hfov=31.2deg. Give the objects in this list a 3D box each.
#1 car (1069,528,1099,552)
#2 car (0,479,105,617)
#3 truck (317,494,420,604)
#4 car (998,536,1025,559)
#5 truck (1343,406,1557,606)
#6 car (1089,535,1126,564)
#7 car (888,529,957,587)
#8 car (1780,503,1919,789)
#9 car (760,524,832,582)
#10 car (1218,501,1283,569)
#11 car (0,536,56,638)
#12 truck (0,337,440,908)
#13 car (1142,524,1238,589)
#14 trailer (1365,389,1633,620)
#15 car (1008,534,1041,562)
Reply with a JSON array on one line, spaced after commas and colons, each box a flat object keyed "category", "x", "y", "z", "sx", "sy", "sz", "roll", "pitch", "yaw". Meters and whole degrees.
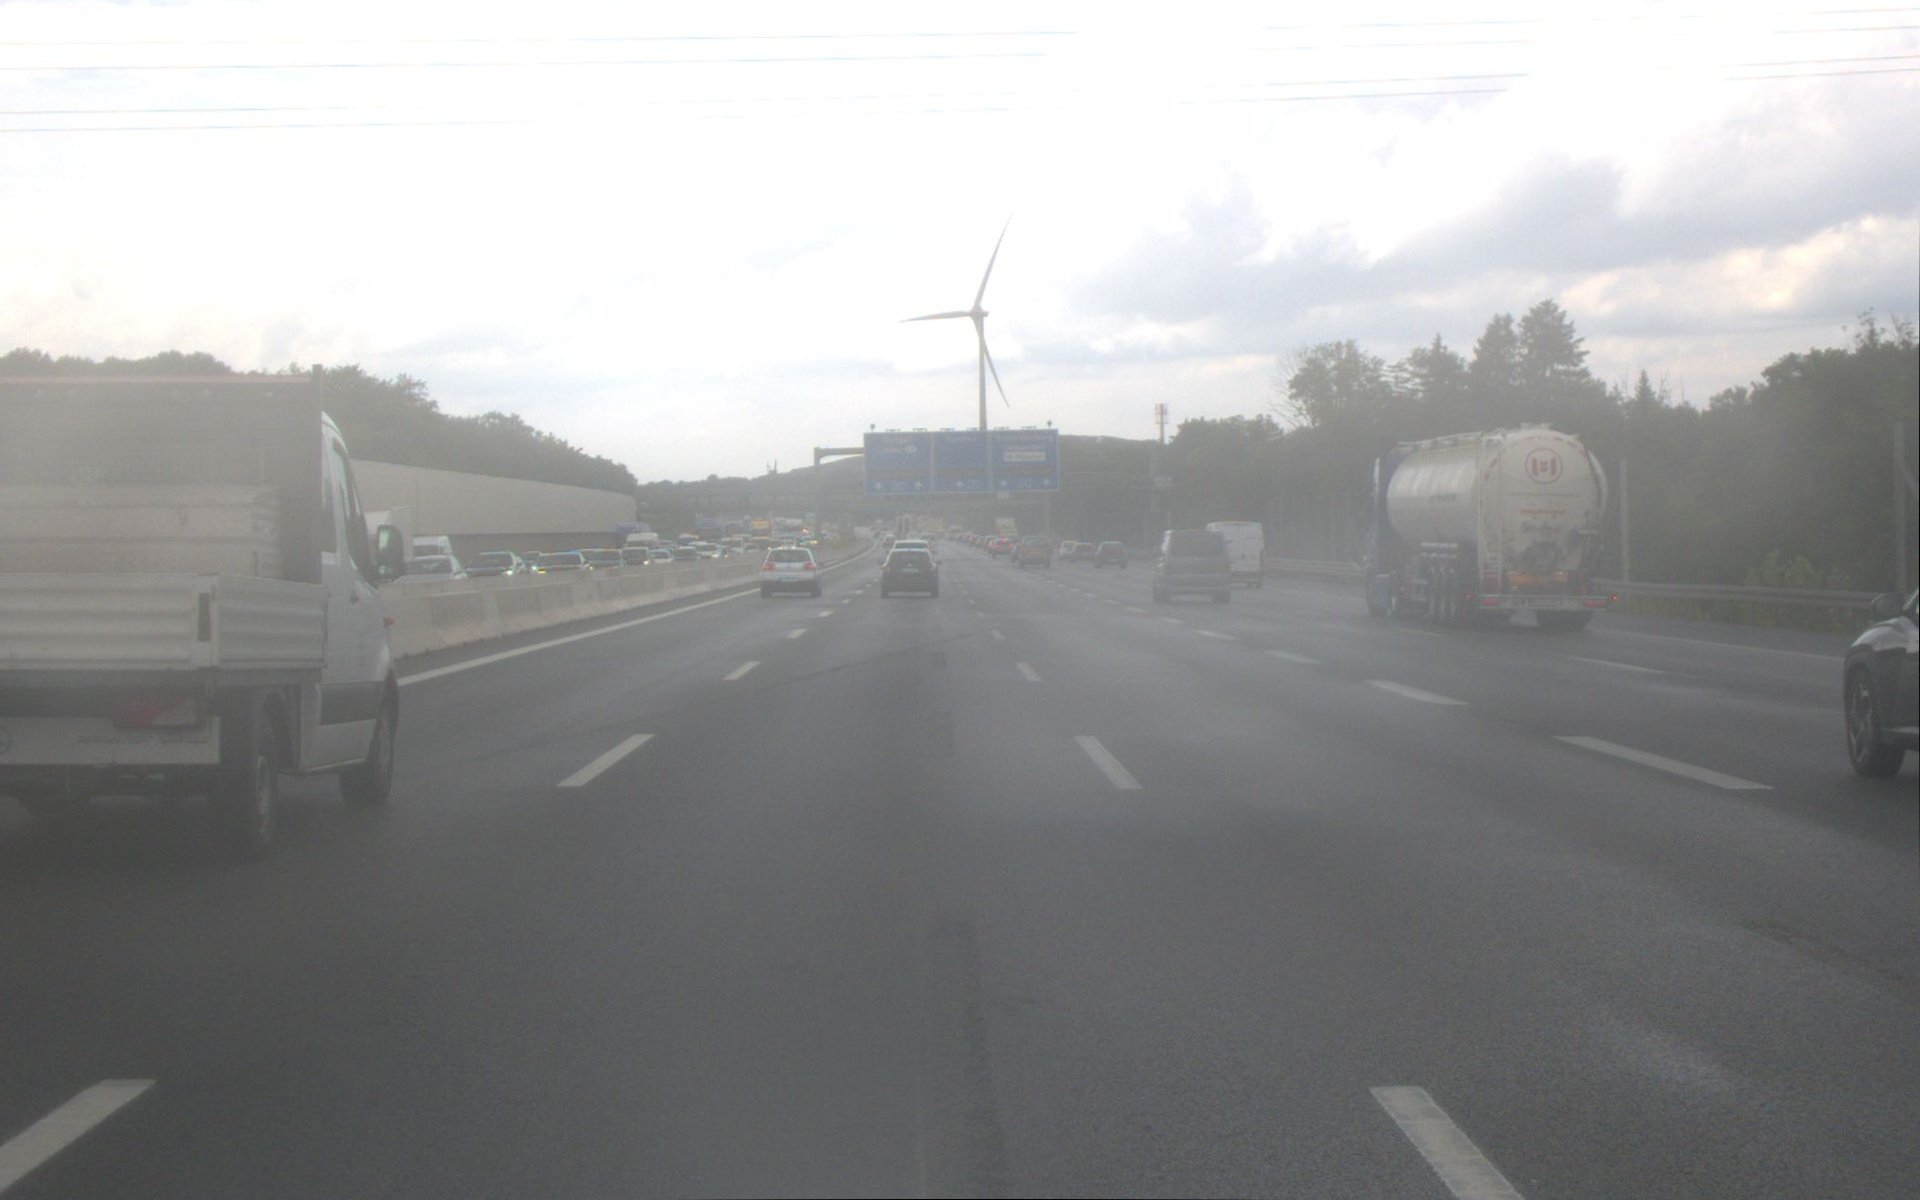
[{"category": "car", "x": 9.008, "y": -4.392, "z": 250.563, "sx": 2.045, "sy": 1.693, "sz": 4.000, "roll": 0, "pitch": 2, "yaw": 0}, {"category": "car", "x": -28.742, "y": -1.596, "z": 103.437, "sx": 3.202, "sy": 3.933, "sz": 11.658, "roll": 0, "pitch": 1, "yaw": -1}, {"category": "truck", "x": -19.651, "y": -1.716, "z": 114.478, "sx": 2.184, "sy": 3.507, "sz": 7.492, "roll": 0, "pitch": 1, "yaw": -1}, {"category": "car", "x": 3.793, "y": -3.873, "z": 253.510, "sx": 1.868, "sy": 1.722, "sz": 4.000, "roll": 0, "pitch": 1, "yaw": -1}, {"category": "truck", "x": 10.495, "y": -2.030, "z": 74.486, "sx": 3.333, "sy": 4.066, "sz": 8.272, "roll": 1, "pitch": 1, "yaw": -1}, {"category": "car", "x": 9.164, "y": -3.138, "z": 213.791, "sx": 1.993, "sy": 1.744, "sz": 4.497, "roll": 0, "pitch": 1, "yaw": -1}, {"category": "car", "x": -1.128, "y": -1.279, "z": 103.946, "sx": 2.045, "sy": 1.693, "sz": 4.000, "roll": 0, "pitch": 2, "yaw": 0}, {"category": "car", "x": 6.756, "y": 0.275, "z": 21.431, "sx": 2.045, "sy": 1.693, "sz": 5.007, "roll": 2, "pitch": 2, "yaw": 0}, {"category": "car", "x": -4.930, "y": -1.436, "z": 103.728, "sx": 2.045, "sy": 1.693, "sz": 4.001, "roll": 0, "pitch": 2, "yaw": -1}, {"category": "car", "x": 10.910, "y": -2.463, "z": 129.514, "sx": 2.045, "sy": 2.489, "sz": 4.001, "roll": 0, "pitch": 2, "yaw": -1}, {"category": "car", "x": -15.151, "y": -0.206, "z": 51.662, "sx": 1.850, "sy": 1.472, "sz": 5.081, "roll": 1, "pitch": 1, "yaw": -1}, {"category": "truck", "x": -4.373, "y": -0.018, "z": 18.167, "sx": 2.353, "sy": 2.400, "sz": 7.359, "roll": 1, "pitch": 2, "yaw": -2}, {"category": "car", "x": 6.236, "y": -1.196, "z": 93.736, "sx": 2.097, "sy": 1.693, "sz": 4.001, "roll": 0, "pitch": 2, "yaw": -4}, {"category": "trailer", "x": 10.520, "y": -1.887, "z": 68.581, "sx": 3.332, "sy": 4.161, "sz": 11.839, "roll": 1, "pitch": 1, "yaw": -1}, {"category": "car", "x": 3.996, "y": -3.262, "z": 213.615, "sx": 2.045, "sy": 1.693, "sz": 4.000, "roll": 0, "pitch": 2, "yaw": 0}]
